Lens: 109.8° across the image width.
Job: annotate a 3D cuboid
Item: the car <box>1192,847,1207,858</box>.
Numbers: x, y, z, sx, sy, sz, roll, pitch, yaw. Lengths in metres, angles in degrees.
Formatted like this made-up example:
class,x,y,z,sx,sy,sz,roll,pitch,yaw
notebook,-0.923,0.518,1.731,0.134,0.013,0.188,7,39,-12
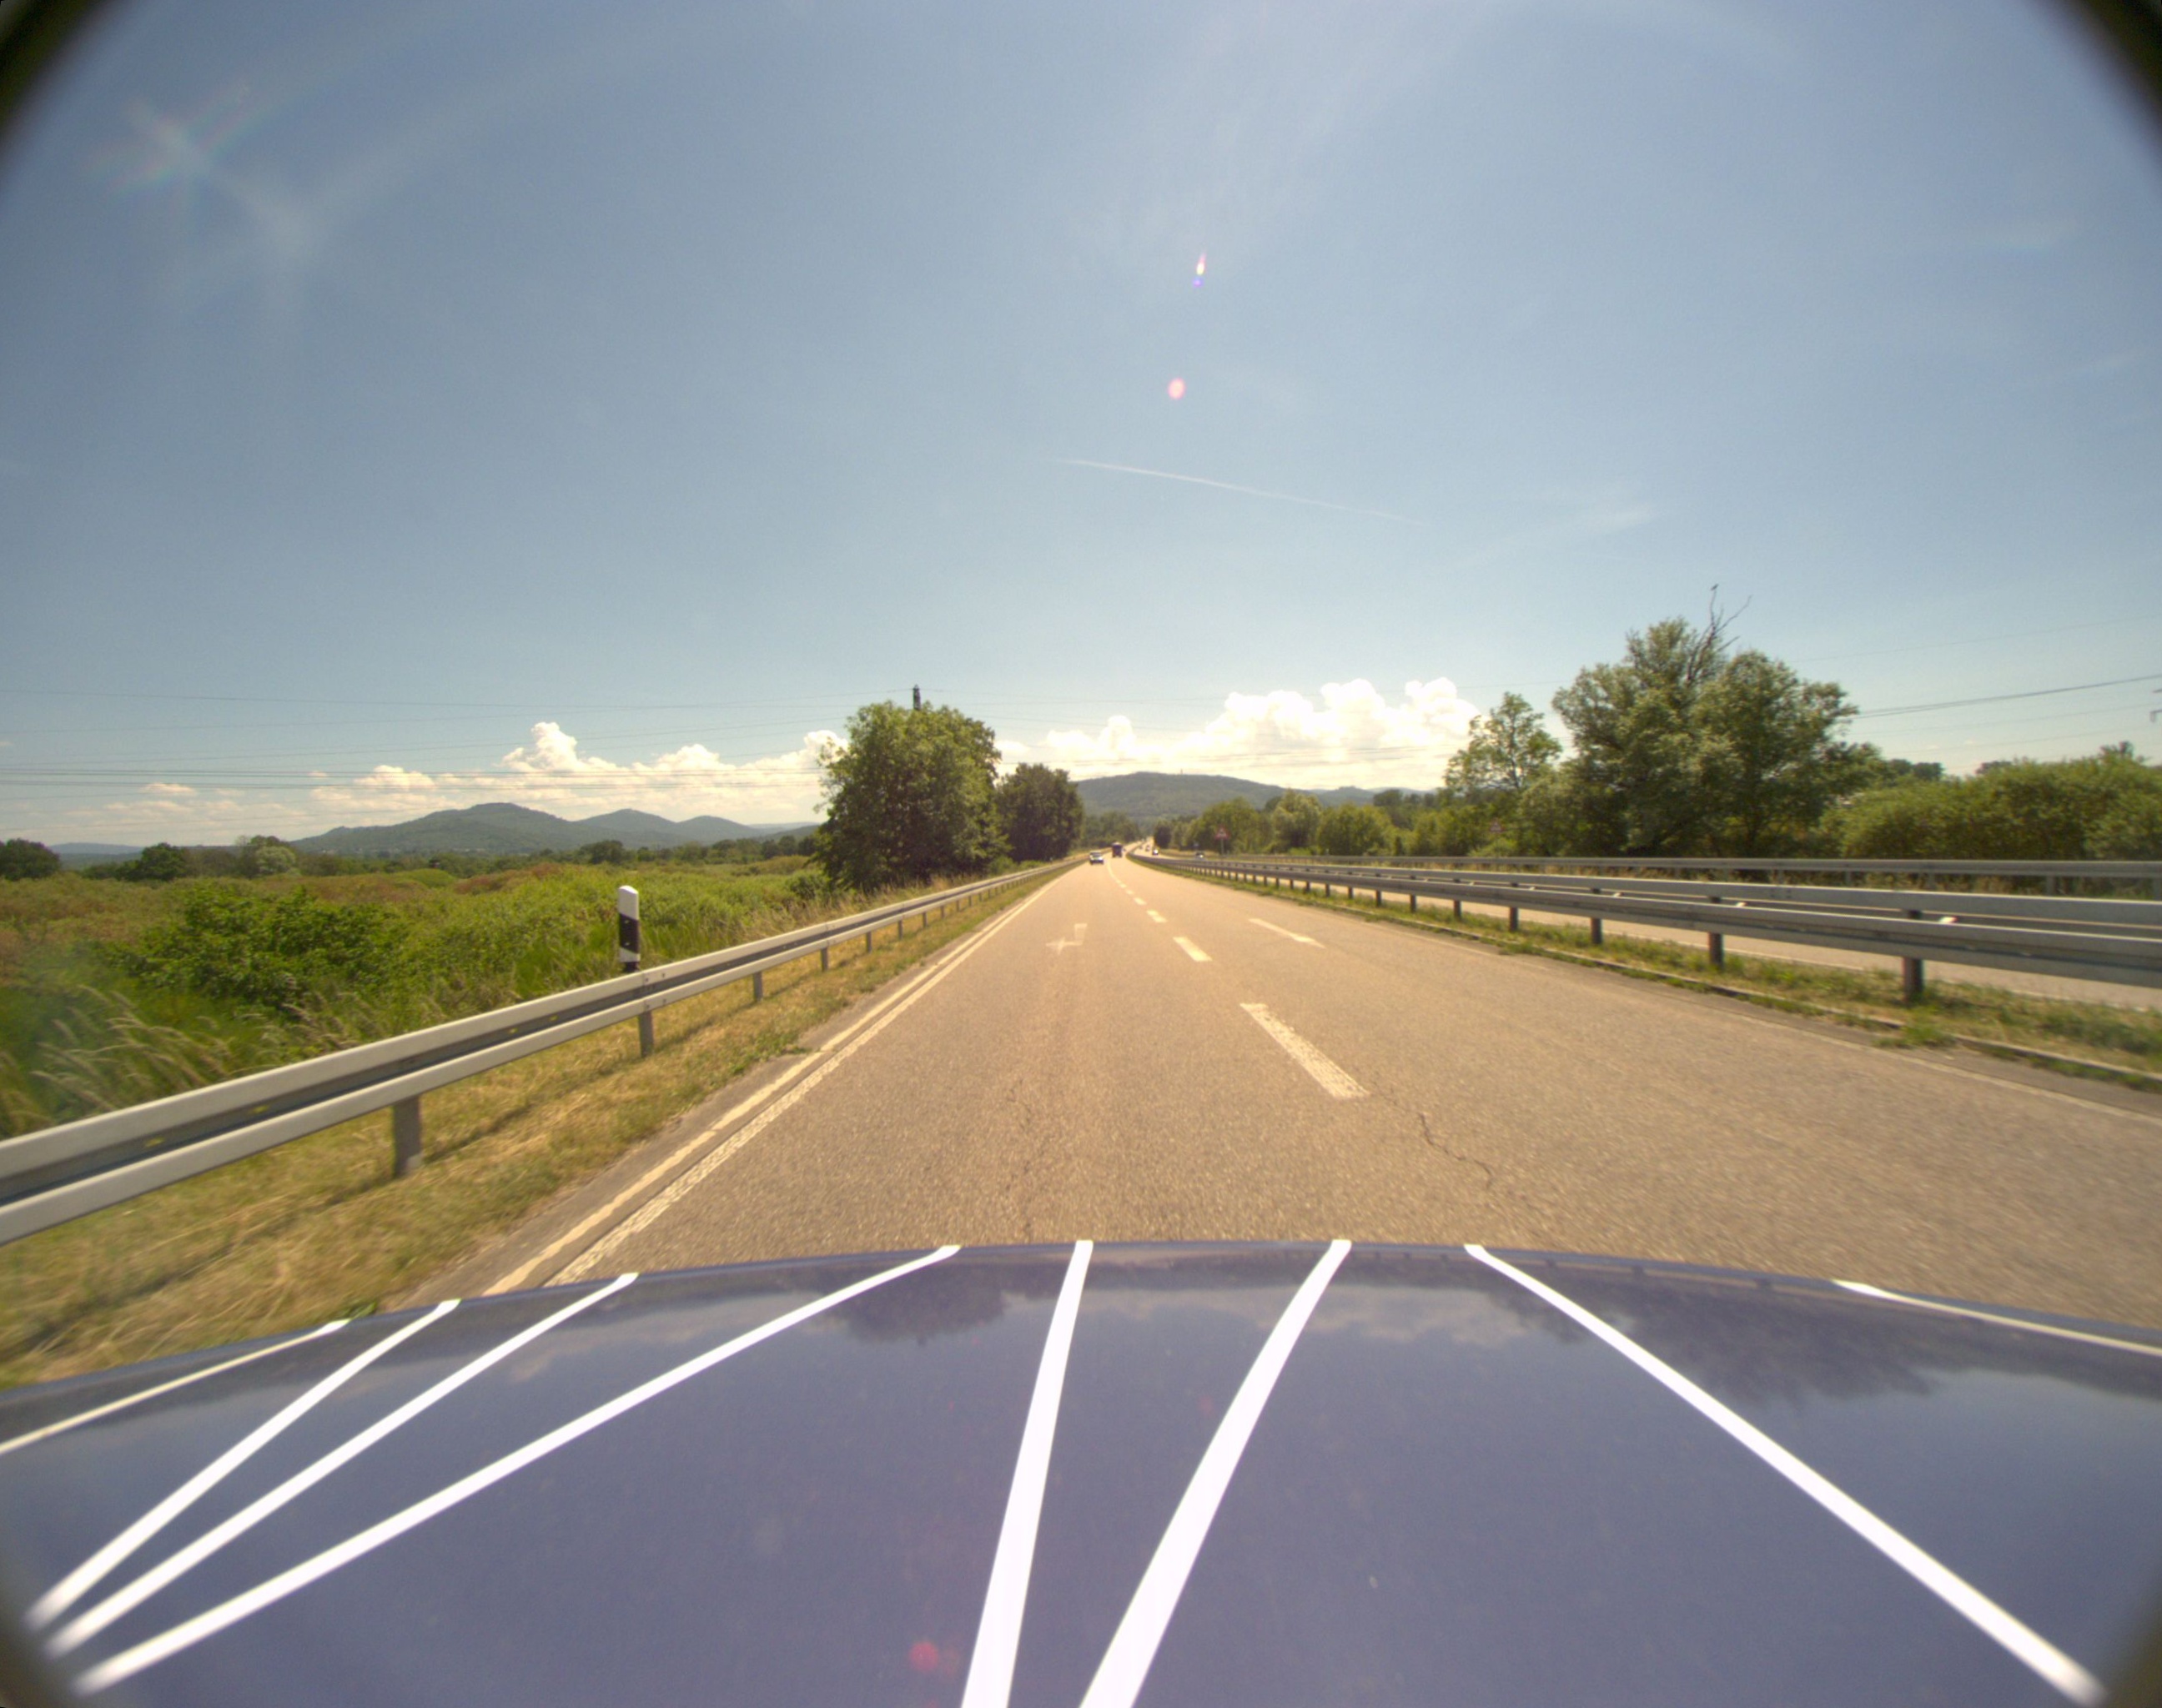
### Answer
class,x,y,z,sx,sy,sz,roll,pitch,yaw
car,15.793,-0.223,101.593,1.536,1.441,3.701,-2,0,1

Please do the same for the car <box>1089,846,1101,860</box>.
class,x,y,z,sx,sy,sz,roll,pitch,yaw
car,2.272,-0.133,122.212,1.619,2.086,3.486,-2,1,5

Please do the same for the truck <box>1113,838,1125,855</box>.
class,x,y,z,sx,sy,sz,roll,pitch,yaw
truck,9.966,-2.070,198.298,2.826,4.143,9.950,-2,1,5

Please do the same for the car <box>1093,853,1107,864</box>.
class,x,y,z,sx,sy,sz,roll,pitch,yaw
car,2.664,0.639,105.444,1.577,1.387,3.486,-2,1,5

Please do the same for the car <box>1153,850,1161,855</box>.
class,x,y,z,sx,sy,sz,roll,pitch,yaw
car,22.167,-0.522,221.983,1.849,1.405,4.680,-2,0,1
